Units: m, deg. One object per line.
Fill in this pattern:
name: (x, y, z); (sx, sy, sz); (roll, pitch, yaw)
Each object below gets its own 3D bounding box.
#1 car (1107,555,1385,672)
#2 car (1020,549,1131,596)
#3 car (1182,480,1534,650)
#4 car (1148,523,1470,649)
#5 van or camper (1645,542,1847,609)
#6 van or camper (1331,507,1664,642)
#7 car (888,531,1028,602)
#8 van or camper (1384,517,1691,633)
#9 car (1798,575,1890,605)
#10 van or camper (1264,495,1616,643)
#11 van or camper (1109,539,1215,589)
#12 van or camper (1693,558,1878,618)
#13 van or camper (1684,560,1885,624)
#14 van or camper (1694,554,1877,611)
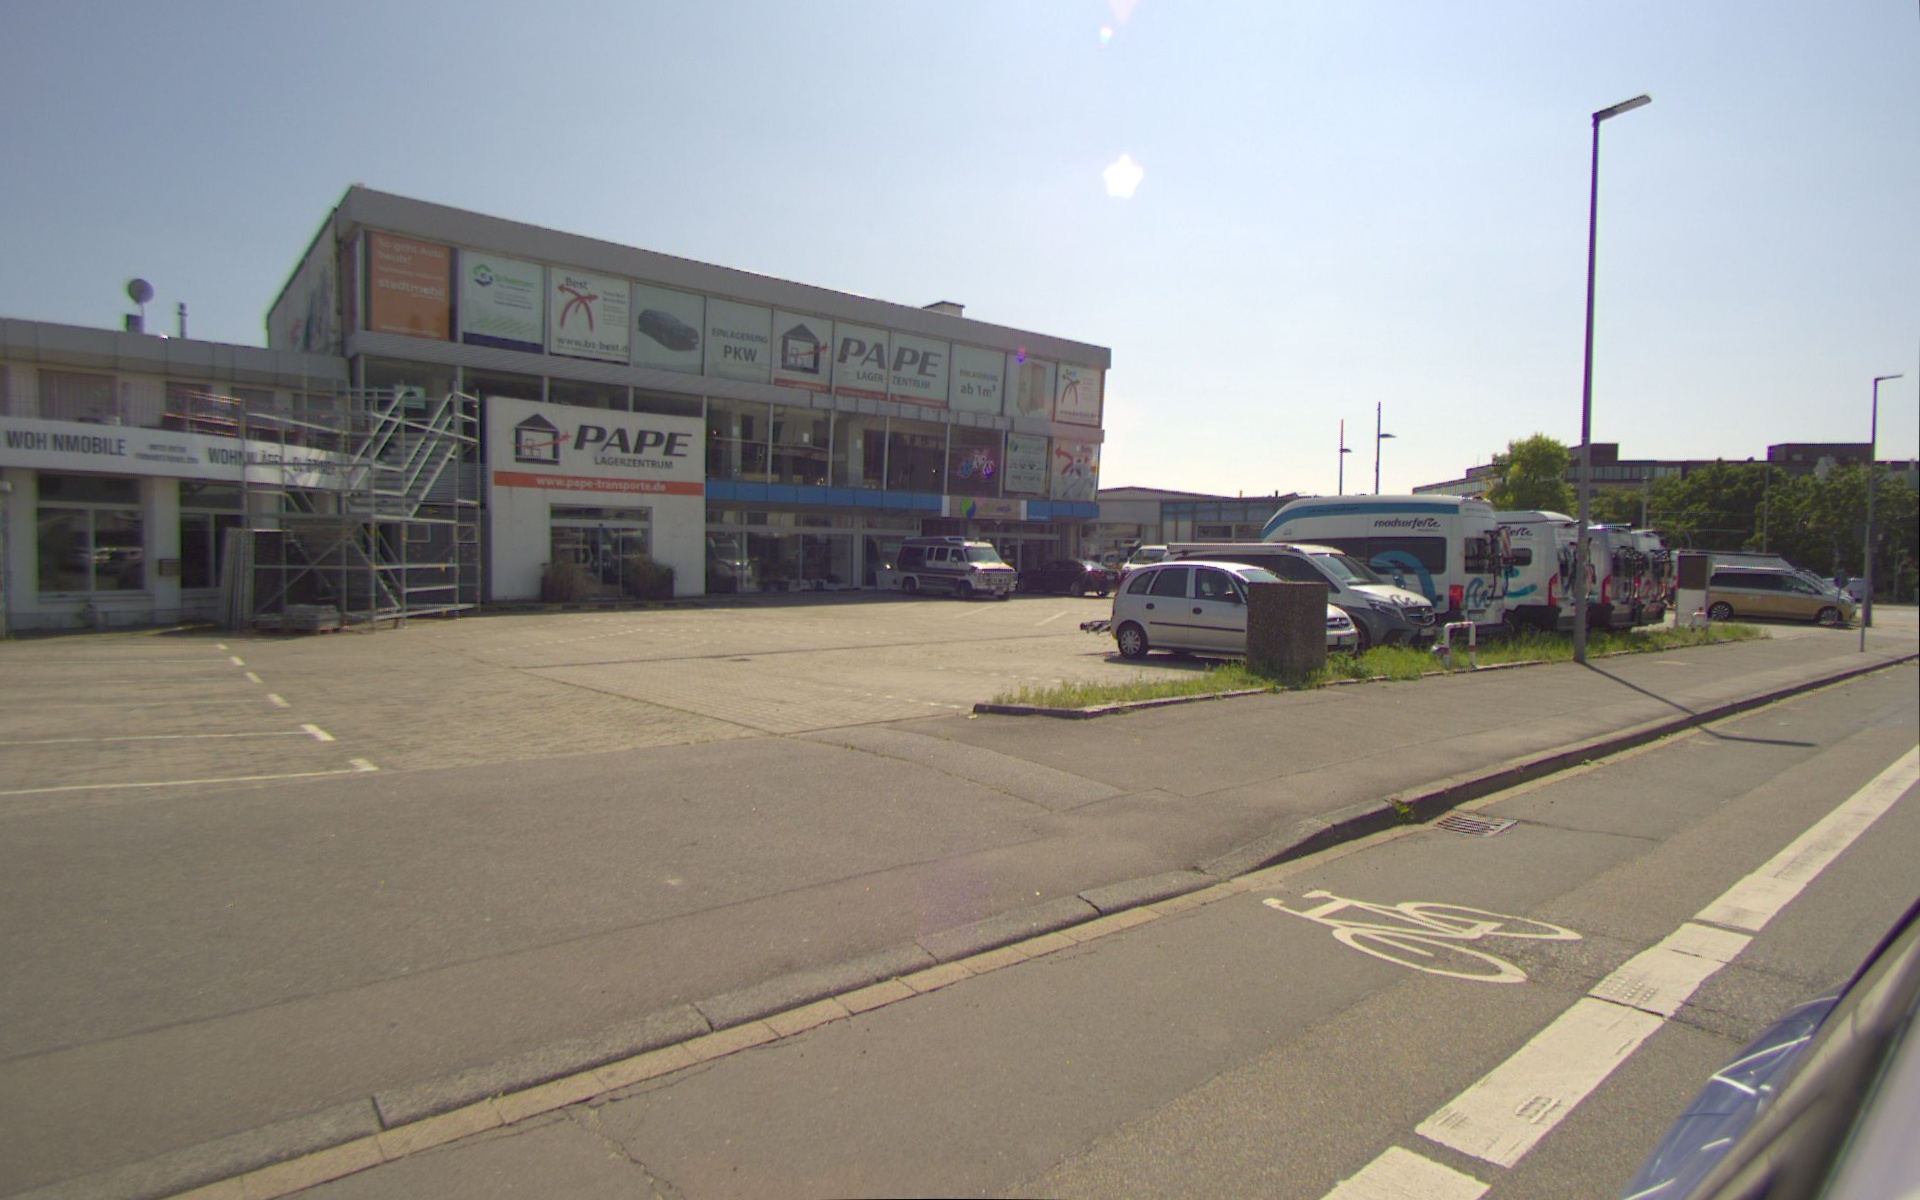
car: (4.419, 0.129, 16.086); (1.766, 1.613, 3.930); (0, 2, -40)
car: (4.575, -1.140, 40.498); (1.967, 1.754, 4.110); (-1, 3, -44)
car: (7.726, -0.737, 20.385); (2.279, 2.904, 6.242); (0, 3, -40)
car: (6.149, -0.369, 18.476); (1.965, 1.975, 5.246); (0, 3, -40)
van or camper: (33.709, -1.092, 43.657); (6.270, 2.669, 2.523); (2, 2, 14)
van or camper: (12.390, -0.658, 23.821); (2.664, 2.749, 6.364); (0, 3, -40)
car: (-0.155, -1.263, 37.317); (2.285, 2.448, 5.309); (0, 3, -40)
van or camper: (14.390, -0.697, 25.629); (2.572, 2.555, 6.210); (0, 3, -40)
car: (68.818, -0.844, 78.912); (2.170, 2.159, 5.534); (1, 2, -1)
van or camper: (10.159, -0.709, 22.002); (2.664, 2.733, 6.364); (0, 3, -40)
van or camper: (8.825, -1.535, 43.952); (2.118, 2.038, 5.034); (3, 3, 44)
van or camper: (31.139, -0.507, 38.387); (4.920, 2.070, 2.030); (2, 3, 20)
van or camper: (29.342, -0.333, 36.252); (5.072, 1.985, 1.975); (3, 4, 20)
van or camper: (33.095, -0.737, 40.784); (5.071, 2.101, 2.439); (2, 2, 18)
